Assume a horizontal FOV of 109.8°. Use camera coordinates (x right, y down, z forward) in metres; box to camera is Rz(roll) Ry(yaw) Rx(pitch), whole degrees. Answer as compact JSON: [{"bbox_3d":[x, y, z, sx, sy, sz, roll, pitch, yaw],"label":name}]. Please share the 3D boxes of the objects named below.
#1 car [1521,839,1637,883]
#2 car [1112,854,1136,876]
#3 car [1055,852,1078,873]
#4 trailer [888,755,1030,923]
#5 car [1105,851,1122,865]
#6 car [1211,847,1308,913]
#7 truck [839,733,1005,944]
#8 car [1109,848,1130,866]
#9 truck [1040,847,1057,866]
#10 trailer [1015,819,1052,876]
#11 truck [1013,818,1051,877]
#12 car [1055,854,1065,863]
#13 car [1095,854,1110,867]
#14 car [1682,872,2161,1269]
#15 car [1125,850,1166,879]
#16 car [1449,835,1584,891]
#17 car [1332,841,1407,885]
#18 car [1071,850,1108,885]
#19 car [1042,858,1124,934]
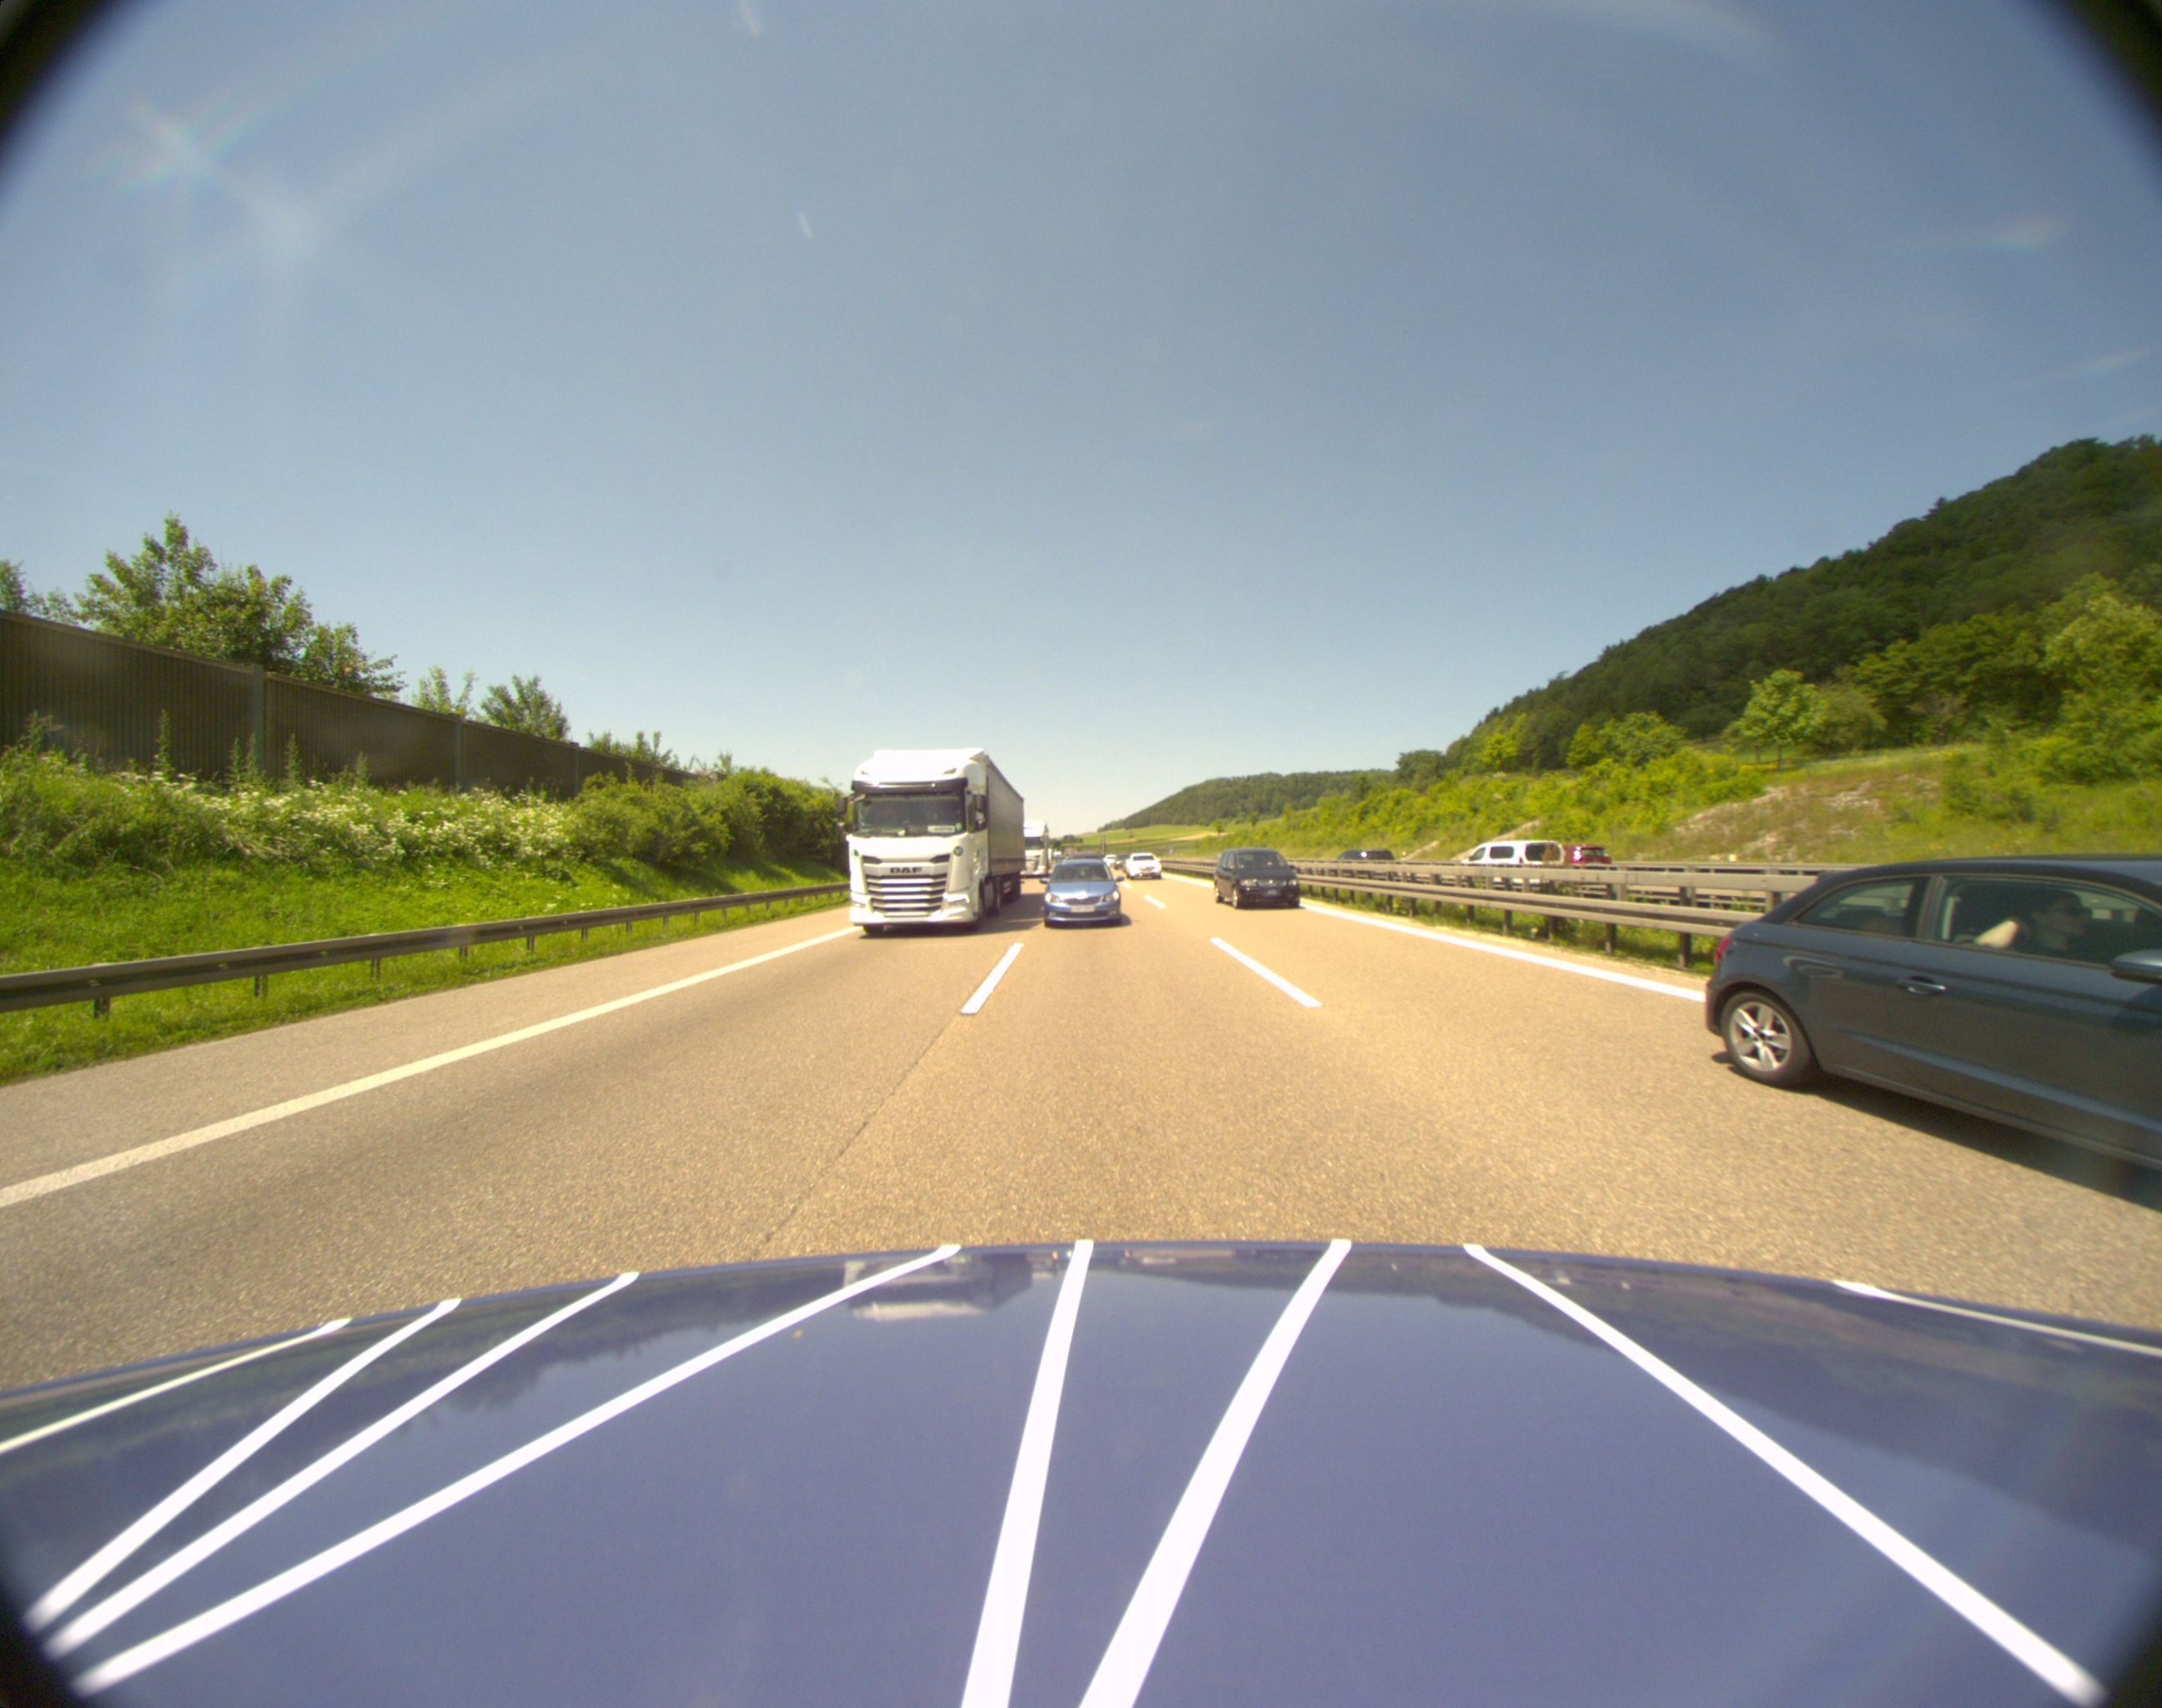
[{"bbox_3d":[20.371,0.260,31.351,1.829,1.635,4.544,-1,0,1],"label":"car"},{"bbox_3d":[3.695,0.931,65.332,1.998,1.692,4.000,-2,1,3],"label":"car"},{"bbox_3d":[-1.302,0.736,69.184,1.999,1.702,3.999,-2,1,0],"label":"car"},{"bbox_3d":[-3.373,-0.388,24.982,2.484,3.954,13.653,-1,0,-1],"label":"trailer"},{"bbox_3d":[4.038,0.475,94.673,1.998,1.702,4.000,-2,1,3],"label":"car"},{"bbox_3d":[4.911,0.643,21.472,1.805,1.625,4.446,-1,0,2],"label":"car"},{"bbox_3d":[-3.347,-0.306,17.675,2.484,3.954,6.380,-1,0,-1],"label":"truck"},{"bbox_3d":[3.935,0.278,77.366,1.998,1.702,4.000,-2,1,3],"label":"car"},{"bbox_3d":[-4.169,0.315,98.486,1.835,2.267,6.594,-2,1,1],"label":"truck"},{"bbox_3d":[-3.769,-0.554,62.801,2.544,4.085,13.623,-2,1,-2],"label":"trailer"},{"bbox_3d":[-3.551,-0.487,56.176,2.531,4.065,6.078,-2,1,-2],"label":"truck"},{"bbox_3d":[-4.616,0.977,167.972,1.999,2.002,3.999,-2,1,0],"label":"car"},{"bbox_3d":[2.975,0.850,104.643,1.998,1.702,4.000,-2,1,3],"label":"car"},{"bbox_3d":[4.861,0.837,3.099,1.693,1.380,4.000,-1,0,1],"label":"car"},{"bbox_3d":[3.865,0.589,46.212,1.999,1.612,3.999,-2,1,-1],"label":"car"},{"bbox_3d":[15.906,0.280,28.148,1.998,1.828,5.226,-1,0,1],"label":"car"},{"bbox_3d":[12.354,0.353,32.811,1.760,1.751,3.934,-1,0,1],"label":"car"},{"bbox_3d":[0.478,0.631,39.098,1.736,1.674,4.198,-1,0,2],"label":"car"},{"bbox_3d":[0.031,0.874,17.912,1.660,1.481,4.652,-1,0,0],"label":"car"}]
